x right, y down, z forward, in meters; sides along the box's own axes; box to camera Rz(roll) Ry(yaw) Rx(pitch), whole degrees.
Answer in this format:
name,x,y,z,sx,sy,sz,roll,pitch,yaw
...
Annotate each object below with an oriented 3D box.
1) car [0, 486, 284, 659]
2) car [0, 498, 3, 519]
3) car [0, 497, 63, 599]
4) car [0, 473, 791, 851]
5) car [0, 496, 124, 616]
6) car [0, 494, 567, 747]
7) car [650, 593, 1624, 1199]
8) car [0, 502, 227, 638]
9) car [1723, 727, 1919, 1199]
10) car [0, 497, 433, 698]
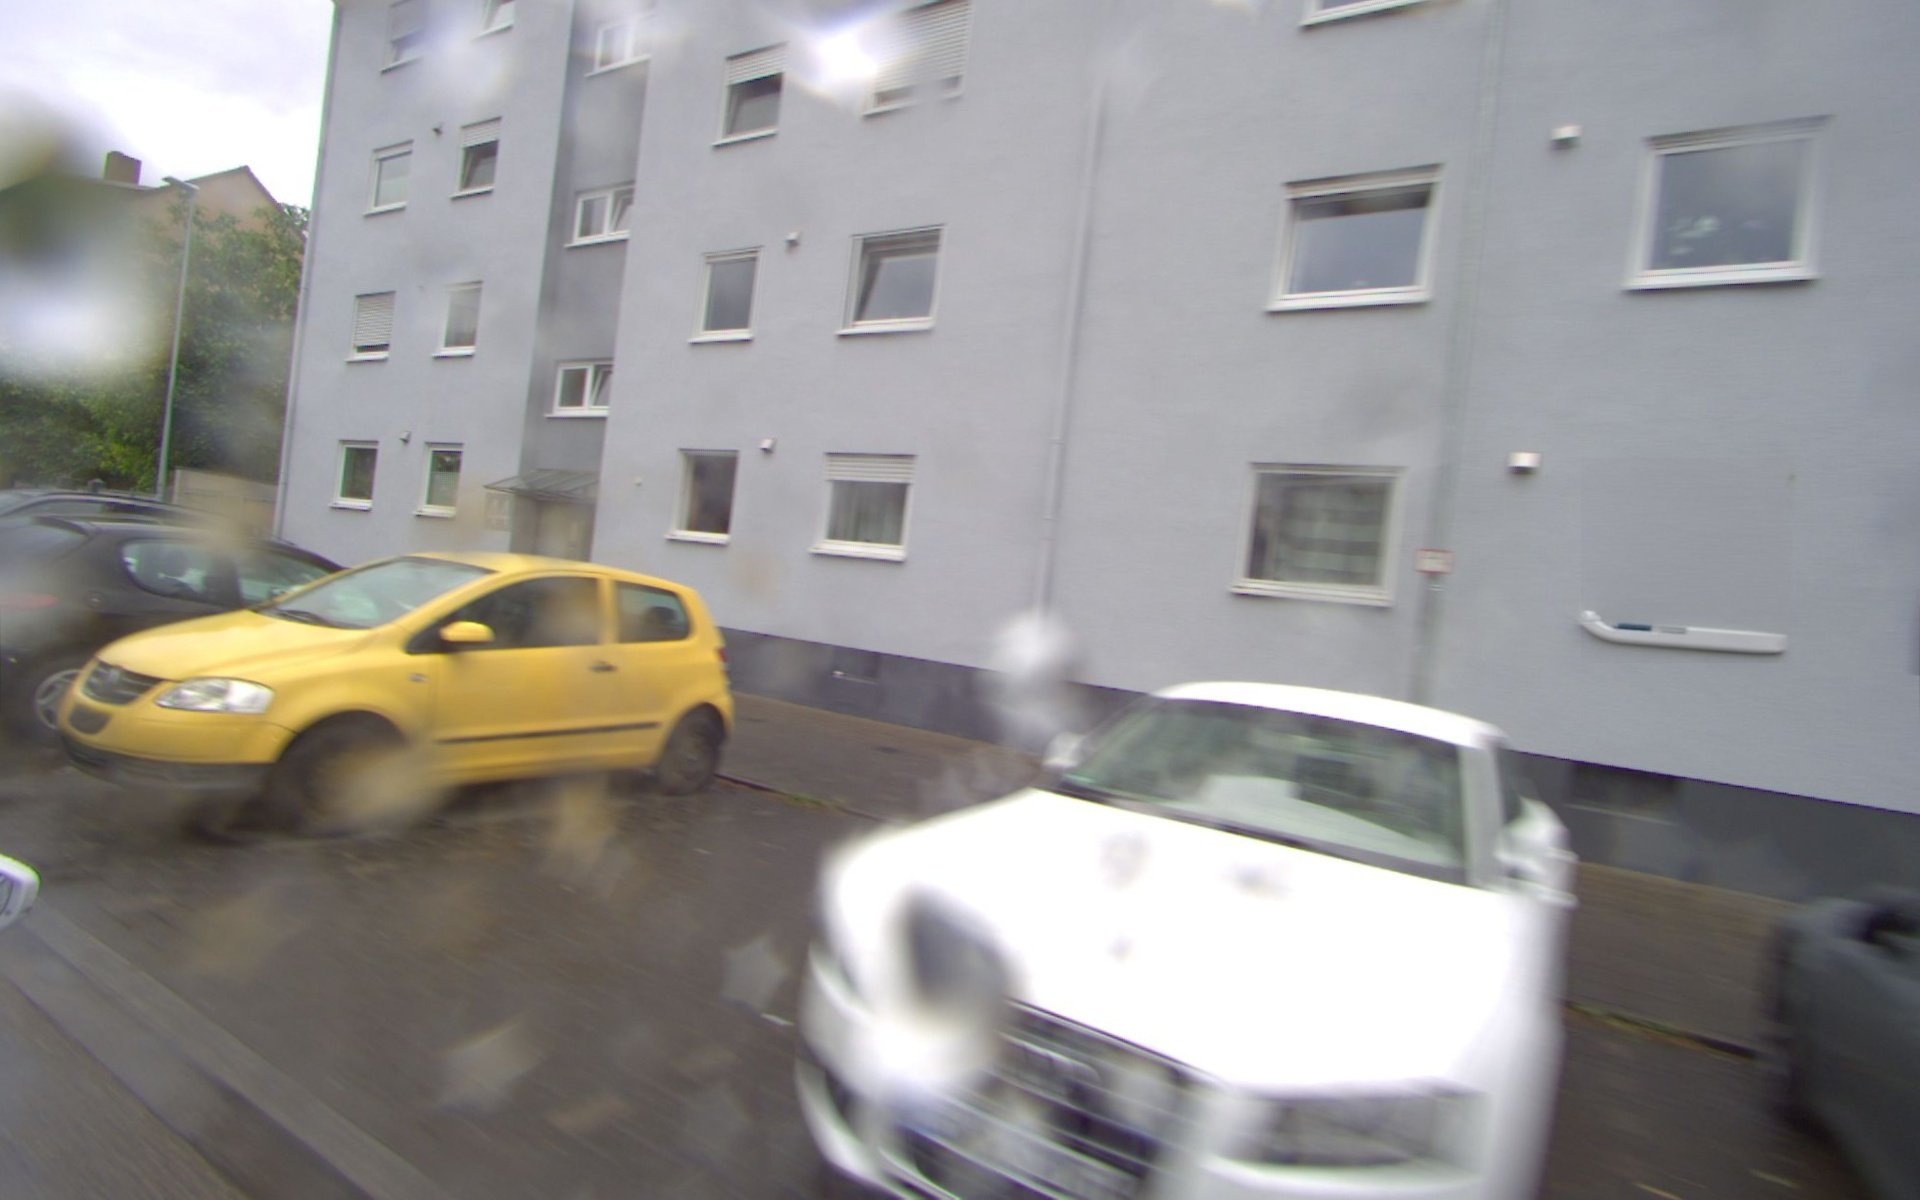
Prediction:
name,x,y,z,sx,sy,sz,roll,pitch,yaw
car,-10.159,-0.392,10.720,2.006,1.569,4.351,6,-2,31
car,-18.165,-1.285,15.901,1.752,1.482,3.995,7,-2,32
car,-16.195,-1.052,14.857,1.774,1.490,3.992,6,-3,34
car,-3.159,0.406,6.492,1.822,1.569,3.996,6,-2,30
car,-14.202,-0.833,13.423,1.954,1.471,4.272,8,-2,37
car,-5.375,0.226,7.779,1.752,1.458,3.996,6,-2,31
car,1.348,1.035,3.993,1.968,1.452,4.635,6,-3,33
car,-11.949,-0.487,12.586,1.815,1.428,3.995,7,-2,32
car,3.246,1.187,2.169,1.979,1.503,4.152,6,-2,31
car,-7.468,-0.014,9.247,1.968,1.475,4.104,7,-2,33
